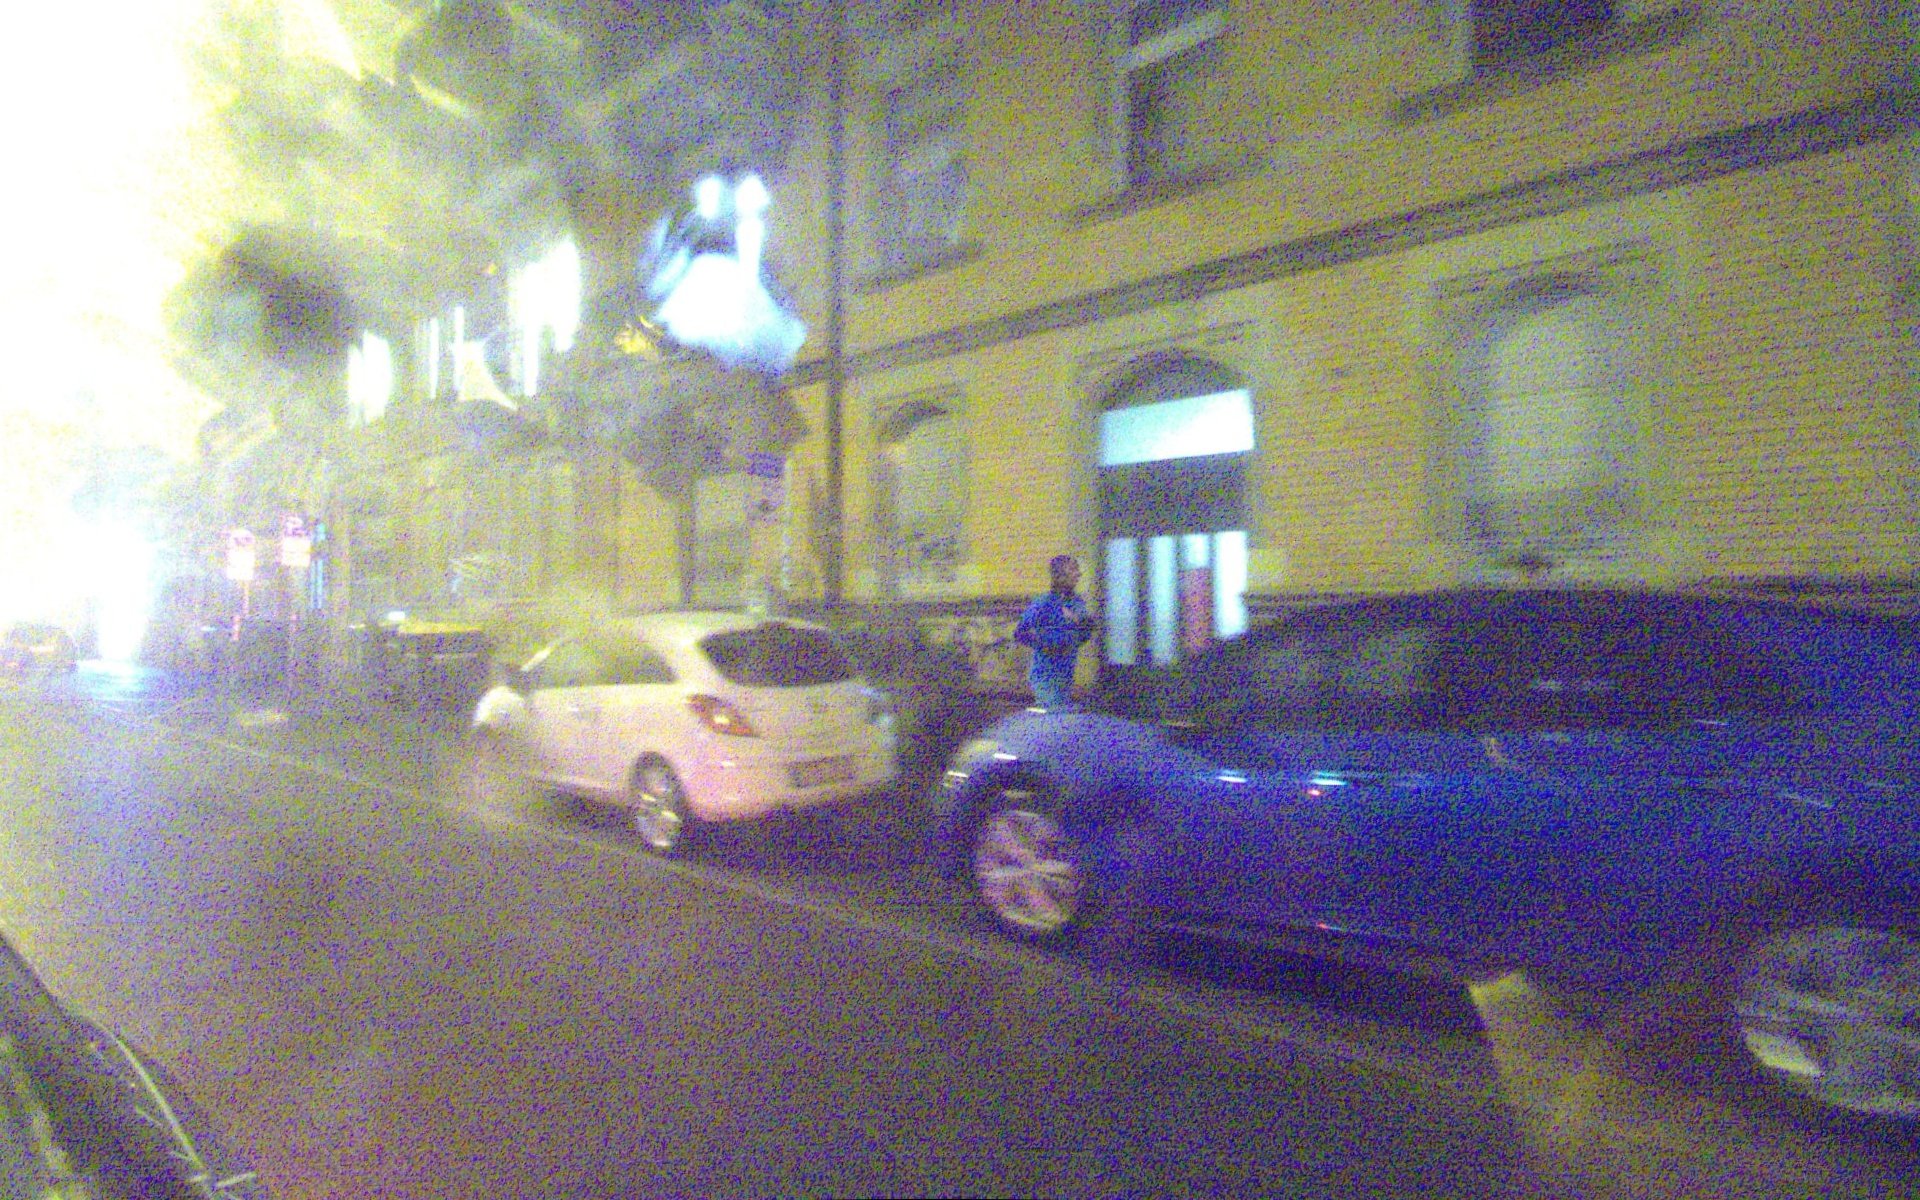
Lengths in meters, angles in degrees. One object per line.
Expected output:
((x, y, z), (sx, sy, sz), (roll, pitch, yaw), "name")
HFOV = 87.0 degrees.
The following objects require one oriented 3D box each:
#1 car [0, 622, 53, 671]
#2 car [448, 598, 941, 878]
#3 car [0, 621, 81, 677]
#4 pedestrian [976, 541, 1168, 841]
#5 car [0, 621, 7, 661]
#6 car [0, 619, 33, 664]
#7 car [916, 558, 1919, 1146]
((-31.074, 1.503, 32.959), (3.733, 1.489, 1.828), (-2, -1, 41), "car")
((-2.090, 0.771, 7.328), (3.786, 1.489, 1.697), (-2, -1, 43), "car")
((-26.908, 1.369, 29.194), (3.733, 1.489, 1.828), (-2, -1, 41), "car")
((0.745, 0.570, 6.848), (1.078, 1.846, 0.667), (-2, -1, 43), "pedestrian")
((-40.207, 1.665, 41.093), (3.733, 1.592, 1.828), (-2, -1, 41), "car")
((-35.321, 1.515, 36.892), (3.733, 1.592, 1.828), (-2, -1, 41), "car")
((1.947, 0.673, 4.034), (4.154, 1.490, 1.700), (-1, -2, 38), "car")
